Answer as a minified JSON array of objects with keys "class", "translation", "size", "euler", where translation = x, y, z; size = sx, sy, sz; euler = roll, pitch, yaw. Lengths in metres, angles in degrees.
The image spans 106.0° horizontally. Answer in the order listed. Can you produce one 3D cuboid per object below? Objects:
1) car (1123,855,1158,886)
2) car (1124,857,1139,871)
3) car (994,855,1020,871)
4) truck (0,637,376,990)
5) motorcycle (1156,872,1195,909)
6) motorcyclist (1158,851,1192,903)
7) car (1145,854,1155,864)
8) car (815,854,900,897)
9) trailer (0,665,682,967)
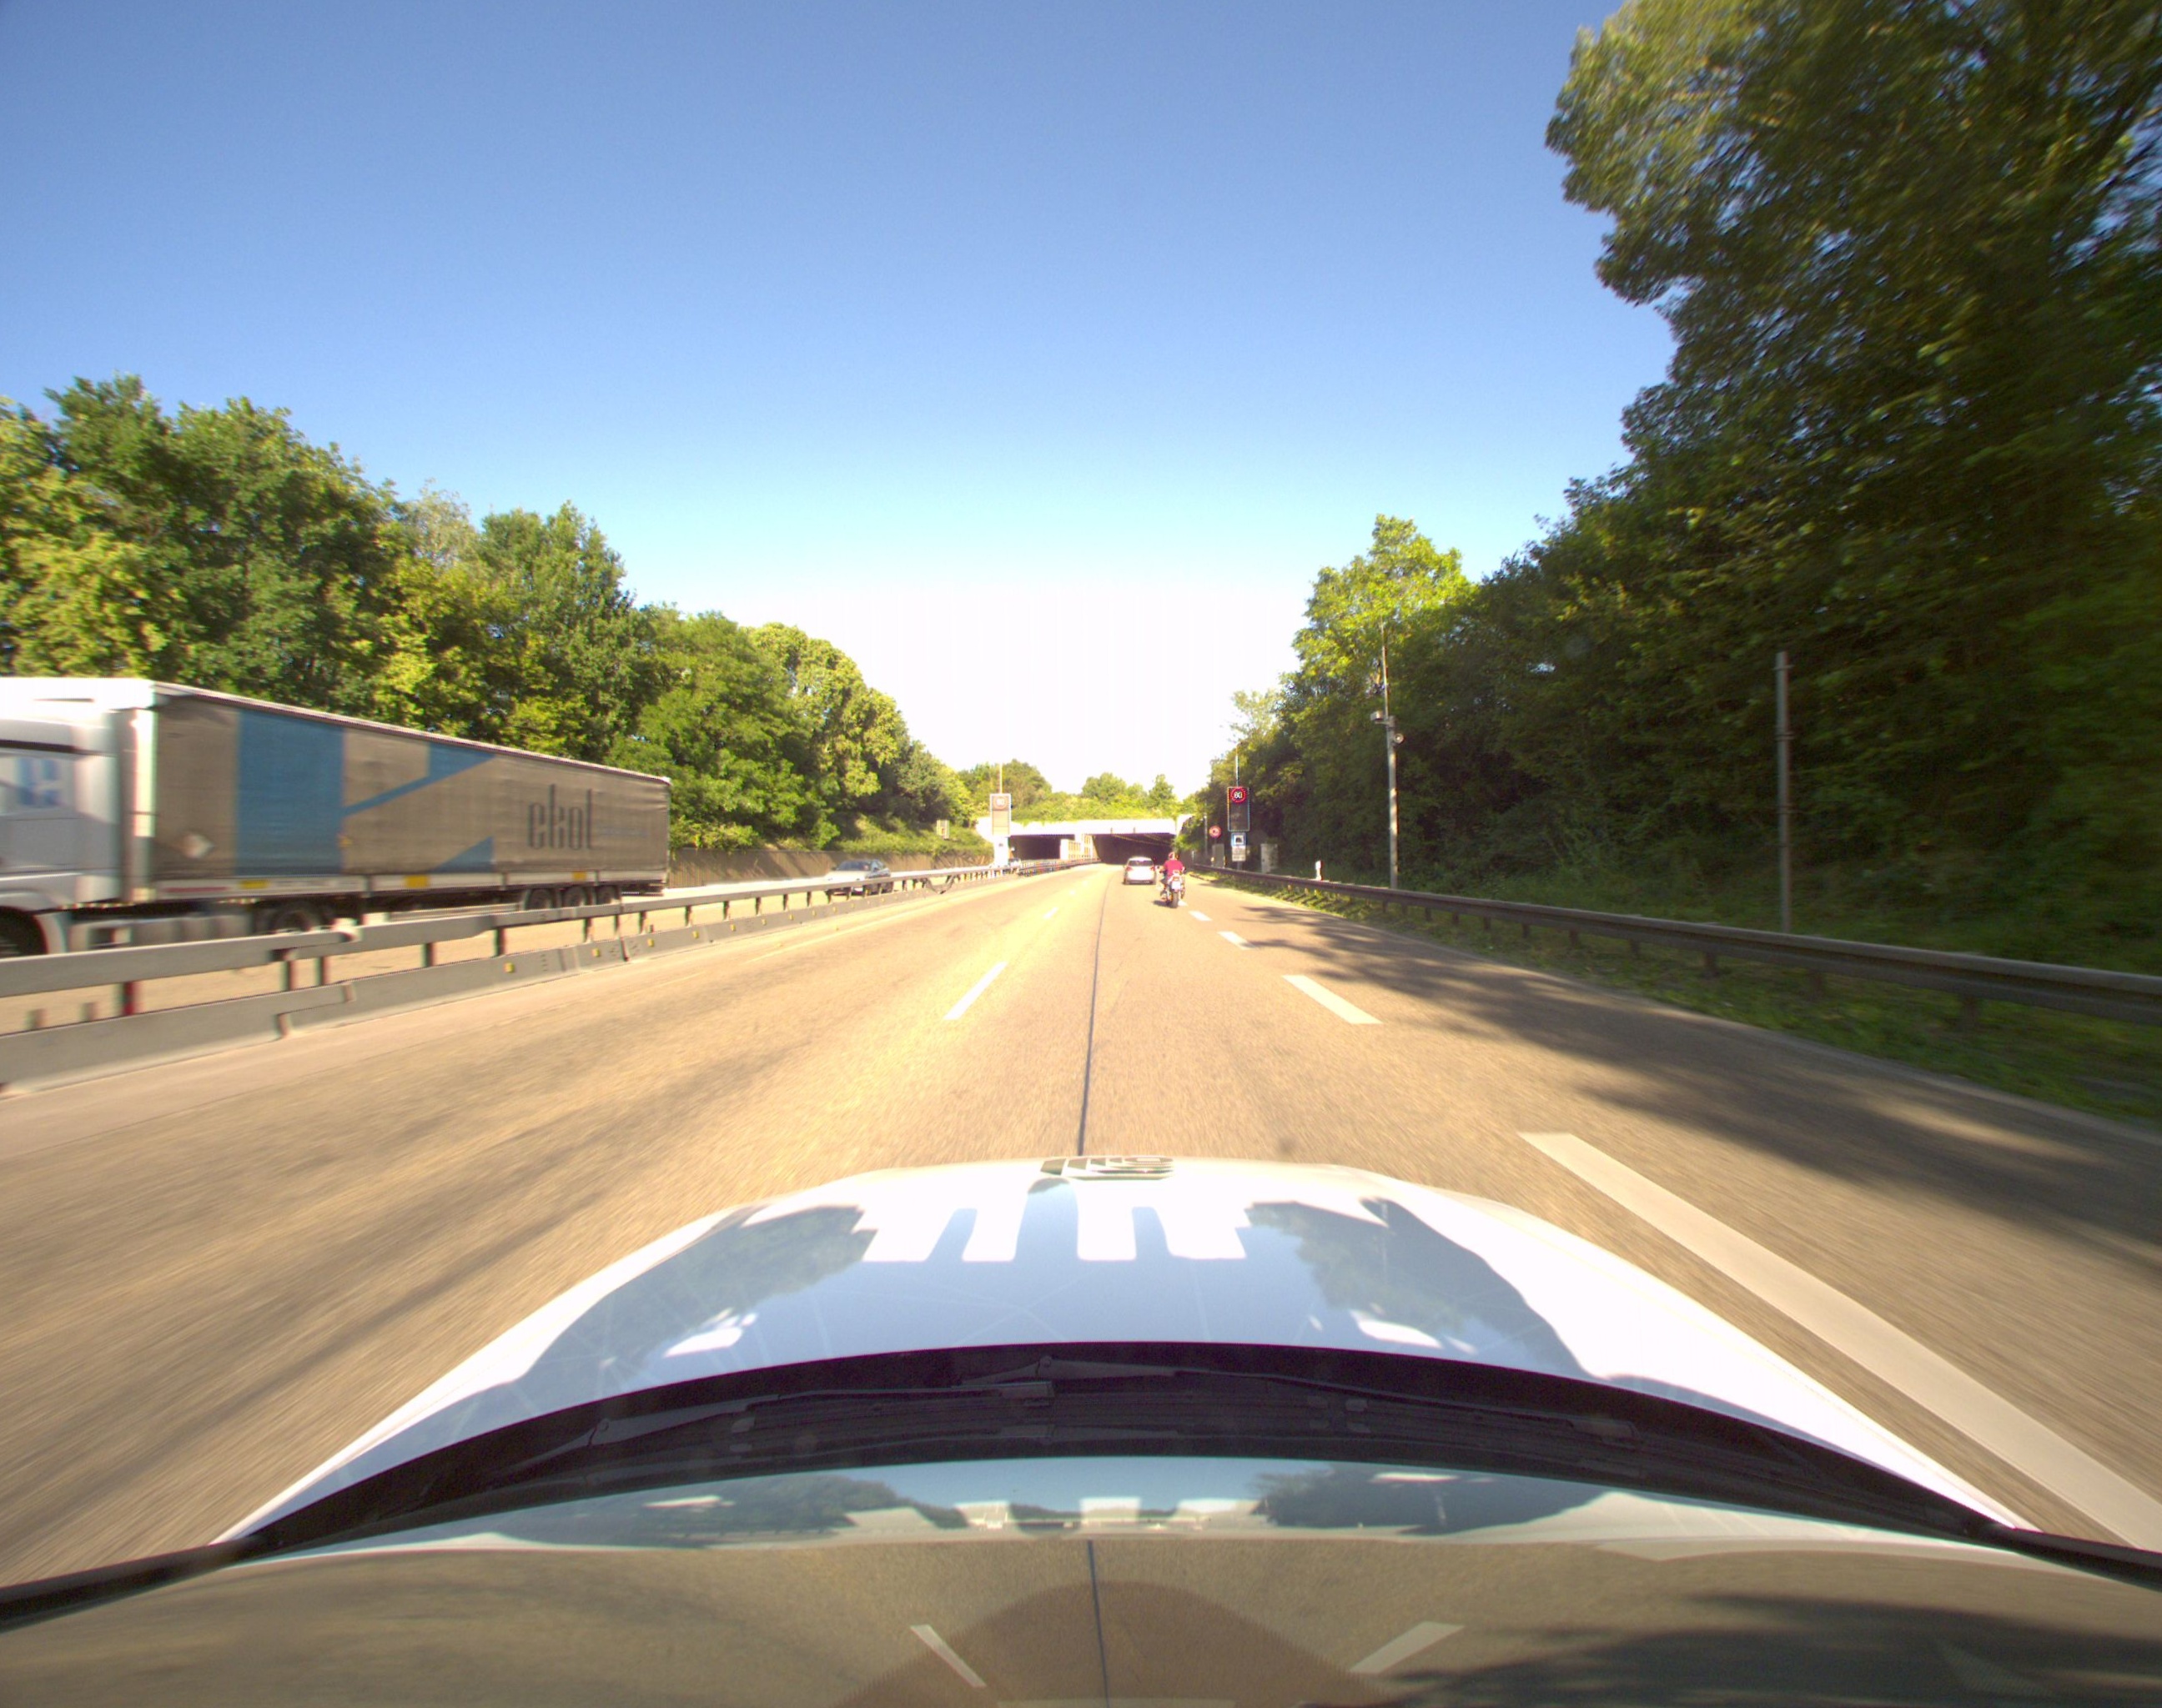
[{"class":"car","translation":[3.223,0.891,44.875],"size":[1.661,1.552,4.001],"euler":[1,1,1]},{"class":"car","translation":[7.438,1.473,119.687],"size":[1.986,1.925,4.001],"euler":[0,0,1]},{"class":"car","translation":[-7.359,0.882,81.344],"size":[1.985,1.486,4.204],"euler":[0,1,4]},{"class":"truck","translation":[-14.352,-0.528,11.701],"size":[2.726,4.261,6.389],"euler":[1,1,1]},{"class":"motorcycle","translation":[2.768,1.043,24.105],"size":[0.855,0.991,2.729],"euler":[1,0,1]},{"class":"motorcyclist","translation":[2.778,0.670,24.125],"size":[0.880,1.501,1.063],"euler":[1,0,0]},{"class":"car","translation":[13.715,1.050,161.620],"size":[1.983,1.925,4.008],"euler":[0,0,7]},{"class":"car","translation":[-9.655,0.894,35.647],"size":[1.984,1.658,4.945],"euler":[1,1,5]},{"class":"trailer","translation":[-14.166,-0.629,18.669],"size":[2.737,4.279,14.090],"euler":[1,1,1]}]
